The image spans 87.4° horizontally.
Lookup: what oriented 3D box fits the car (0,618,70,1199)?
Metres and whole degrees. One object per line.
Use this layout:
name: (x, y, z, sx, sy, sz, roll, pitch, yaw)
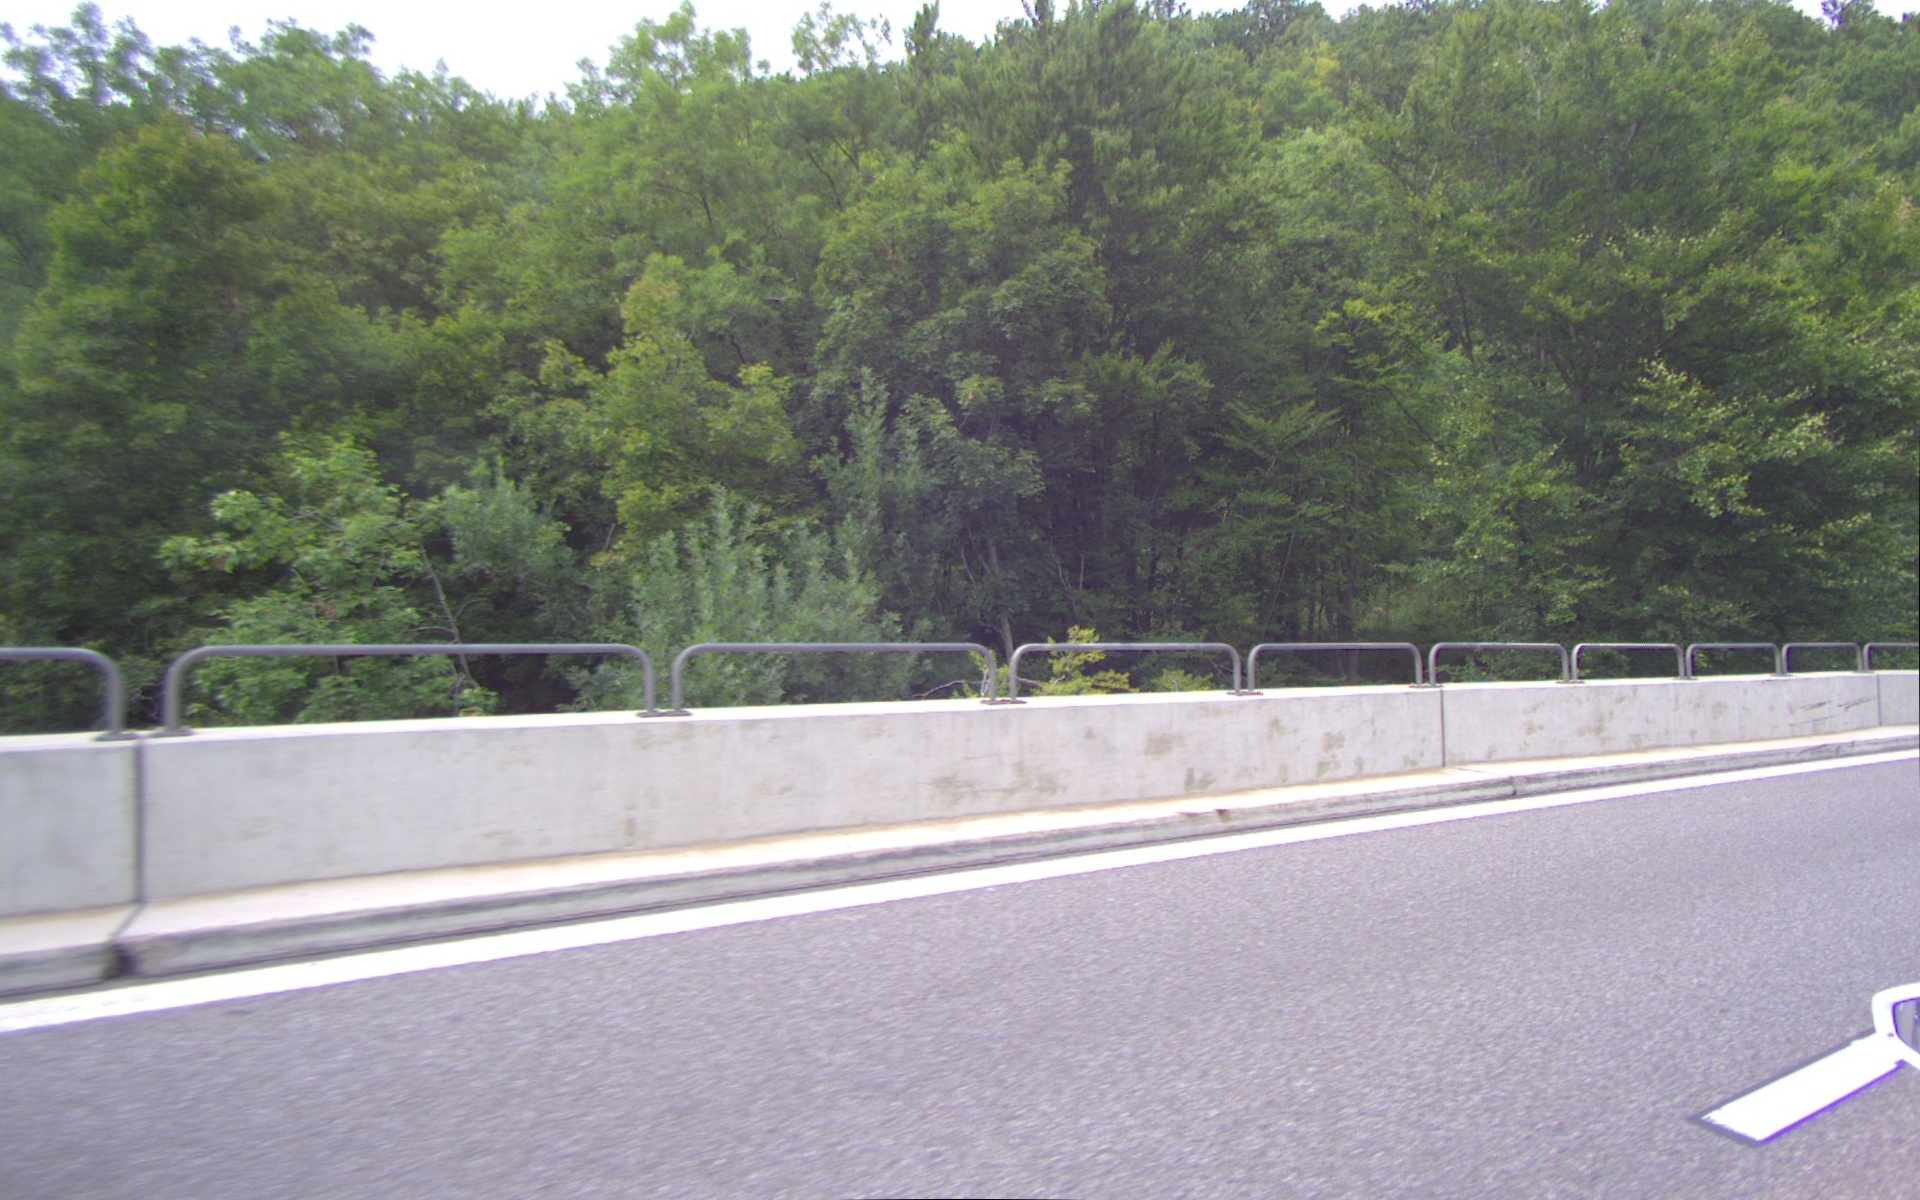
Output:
car: (-4.321, 0.728, 0.824, 5.077, 1.476, 1.818, 2, -1, -32)
